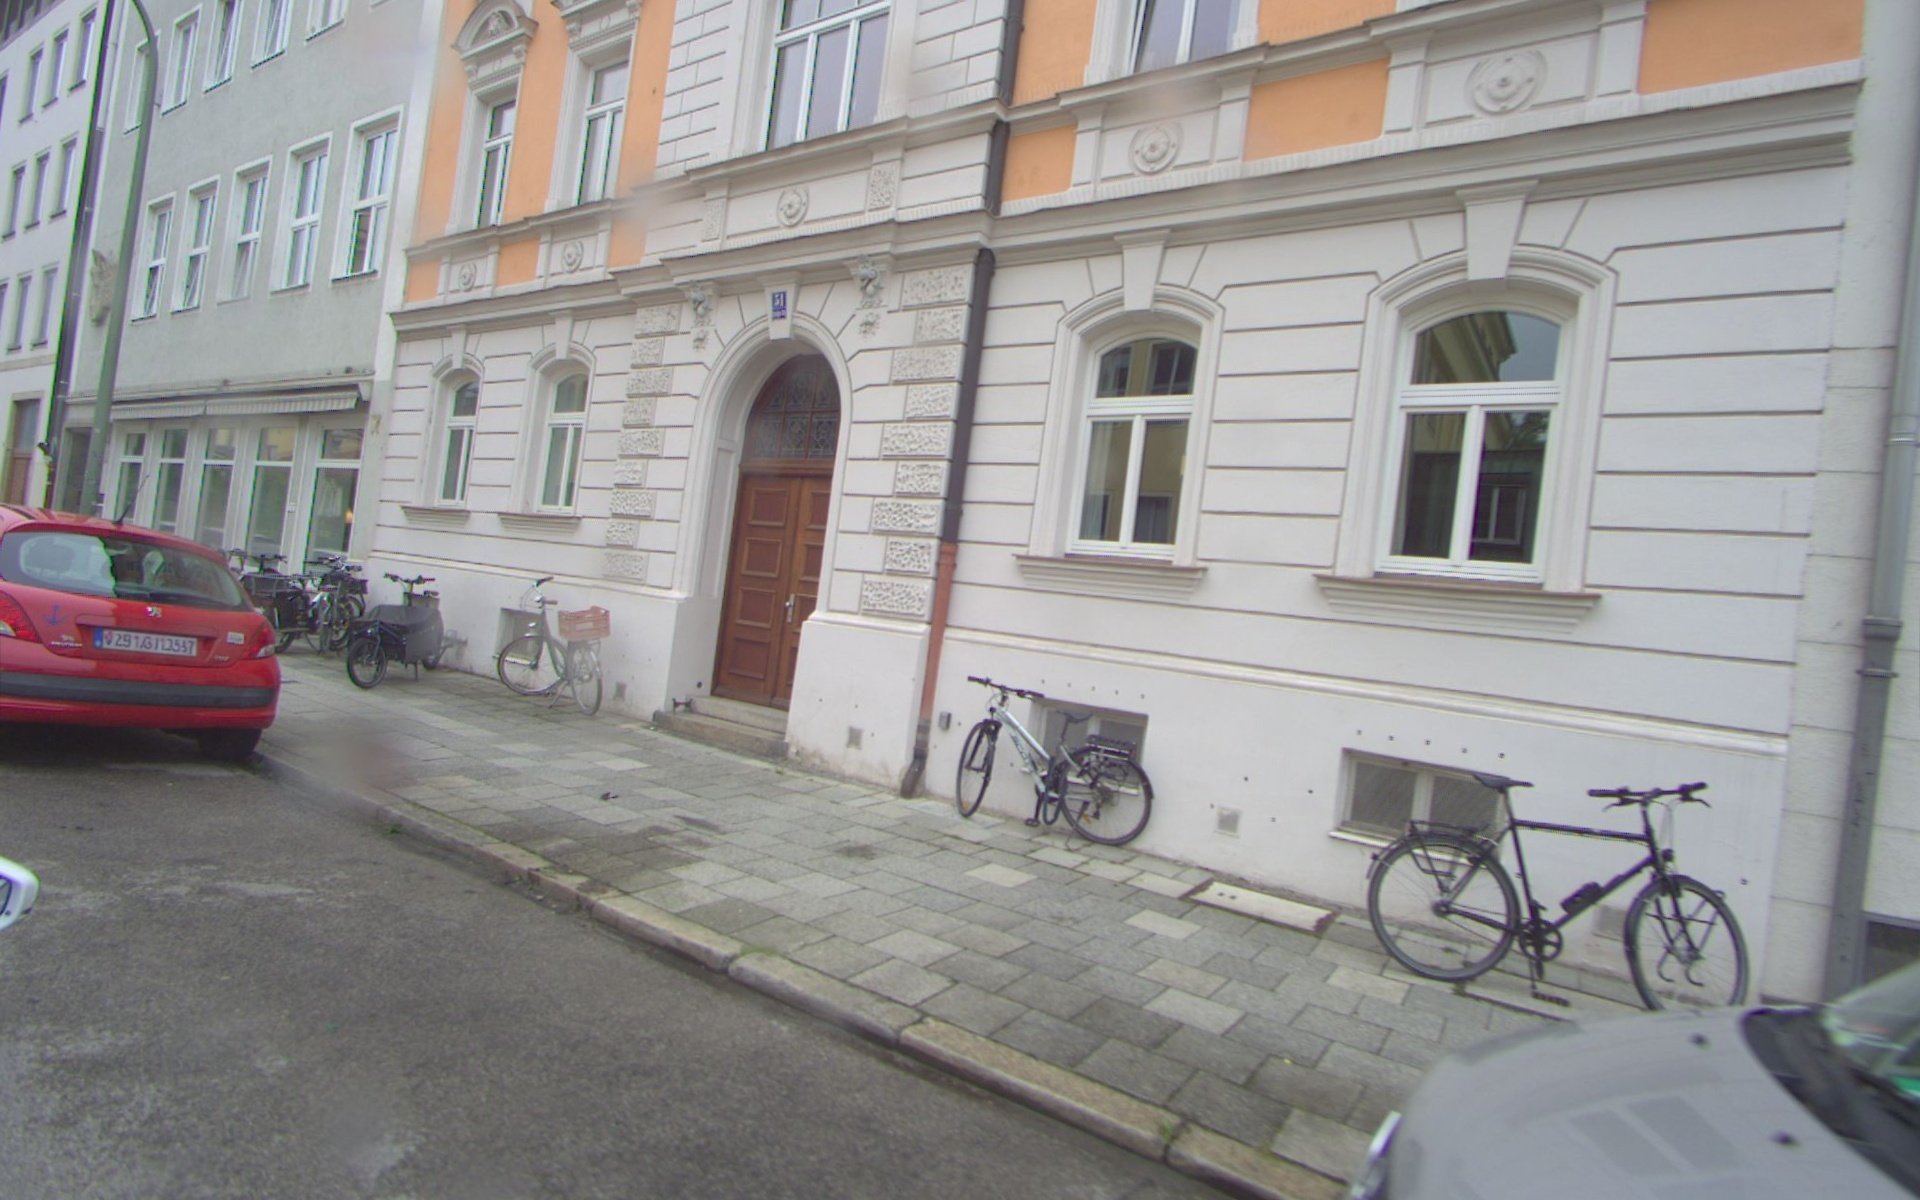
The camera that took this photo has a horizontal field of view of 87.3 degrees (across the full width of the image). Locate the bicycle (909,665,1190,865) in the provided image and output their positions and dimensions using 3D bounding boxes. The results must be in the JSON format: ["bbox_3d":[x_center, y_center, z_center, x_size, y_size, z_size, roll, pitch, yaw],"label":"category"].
[{"bbox_3d":[0.603,1.102,7.096,1.787,1.036,0.597,7,-1,31],"label":"bicycle"}]

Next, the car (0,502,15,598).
[{"bbox_3d":[-10.774,-0.465,9.562,4.295,1.417,1.690,7,-3,36],"label":"car"}]

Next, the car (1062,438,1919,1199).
[{"bbox_3d":[2.124,0.964,0.999,3.737,1.691,1.688,7,-4,26],"label":"car"}]

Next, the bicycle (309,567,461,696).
[{"bbox_3d":[-5.965,0.311,10.578,0.574,1.152,2.089,7,-1,-9],"label":"bicycle"}]

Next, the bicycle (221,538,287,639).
[{"bbox_3d":[-9.604,-0.161,13.679,0.901,1.270,0.248,7,-1,29],"label":"bicycle"}]

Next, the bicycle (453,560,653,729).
[{"bbox_3d":[-4.096,0.419,10.060,2.057,1.401,0.597,7,-1,31],"label":"bicycle"}]

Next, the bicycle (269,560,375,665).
[{"bbox_3d":[-7.623,0.126,12.098,0.613,1.102,1.806,8,-1,-21],"label":"bicycle"}]

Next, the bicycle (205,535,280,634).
[{"bbox_3d":[-10.235,-0.229,14.342,1.213,1.270,0.248,7,-1,29],"label":"bicycle"}]

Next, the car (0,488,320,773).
[{"bbox_3d":[-6.537,0.064,7.028,4.078,1.516,1.692,7,-4,31],"label":"car"}]

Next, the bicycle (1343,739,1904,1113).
[{"bbox_3d":[2.937,1.389,4.725,1.959,1.125,0.725,7,-2,26],"label":"bicycle"}]

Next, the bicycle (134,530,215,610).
[{"bbox_3d":[-13.394,-0.532,17.128,1.918,1.171,0.385,7,-1,34],"label":"bicycle"}]

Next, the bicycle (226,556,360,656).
[{"bbox_3d":[-8.142,0.084,12.374,0.507,1.080,1.846,7,-1,-8],"label":"bicycle"}]

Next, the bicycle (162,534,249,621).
[{"bbox_3d":[-11.901,-0.367,15.842,1.786,1.190,0.396,6,-2,34],"label":"bicycle"}]
